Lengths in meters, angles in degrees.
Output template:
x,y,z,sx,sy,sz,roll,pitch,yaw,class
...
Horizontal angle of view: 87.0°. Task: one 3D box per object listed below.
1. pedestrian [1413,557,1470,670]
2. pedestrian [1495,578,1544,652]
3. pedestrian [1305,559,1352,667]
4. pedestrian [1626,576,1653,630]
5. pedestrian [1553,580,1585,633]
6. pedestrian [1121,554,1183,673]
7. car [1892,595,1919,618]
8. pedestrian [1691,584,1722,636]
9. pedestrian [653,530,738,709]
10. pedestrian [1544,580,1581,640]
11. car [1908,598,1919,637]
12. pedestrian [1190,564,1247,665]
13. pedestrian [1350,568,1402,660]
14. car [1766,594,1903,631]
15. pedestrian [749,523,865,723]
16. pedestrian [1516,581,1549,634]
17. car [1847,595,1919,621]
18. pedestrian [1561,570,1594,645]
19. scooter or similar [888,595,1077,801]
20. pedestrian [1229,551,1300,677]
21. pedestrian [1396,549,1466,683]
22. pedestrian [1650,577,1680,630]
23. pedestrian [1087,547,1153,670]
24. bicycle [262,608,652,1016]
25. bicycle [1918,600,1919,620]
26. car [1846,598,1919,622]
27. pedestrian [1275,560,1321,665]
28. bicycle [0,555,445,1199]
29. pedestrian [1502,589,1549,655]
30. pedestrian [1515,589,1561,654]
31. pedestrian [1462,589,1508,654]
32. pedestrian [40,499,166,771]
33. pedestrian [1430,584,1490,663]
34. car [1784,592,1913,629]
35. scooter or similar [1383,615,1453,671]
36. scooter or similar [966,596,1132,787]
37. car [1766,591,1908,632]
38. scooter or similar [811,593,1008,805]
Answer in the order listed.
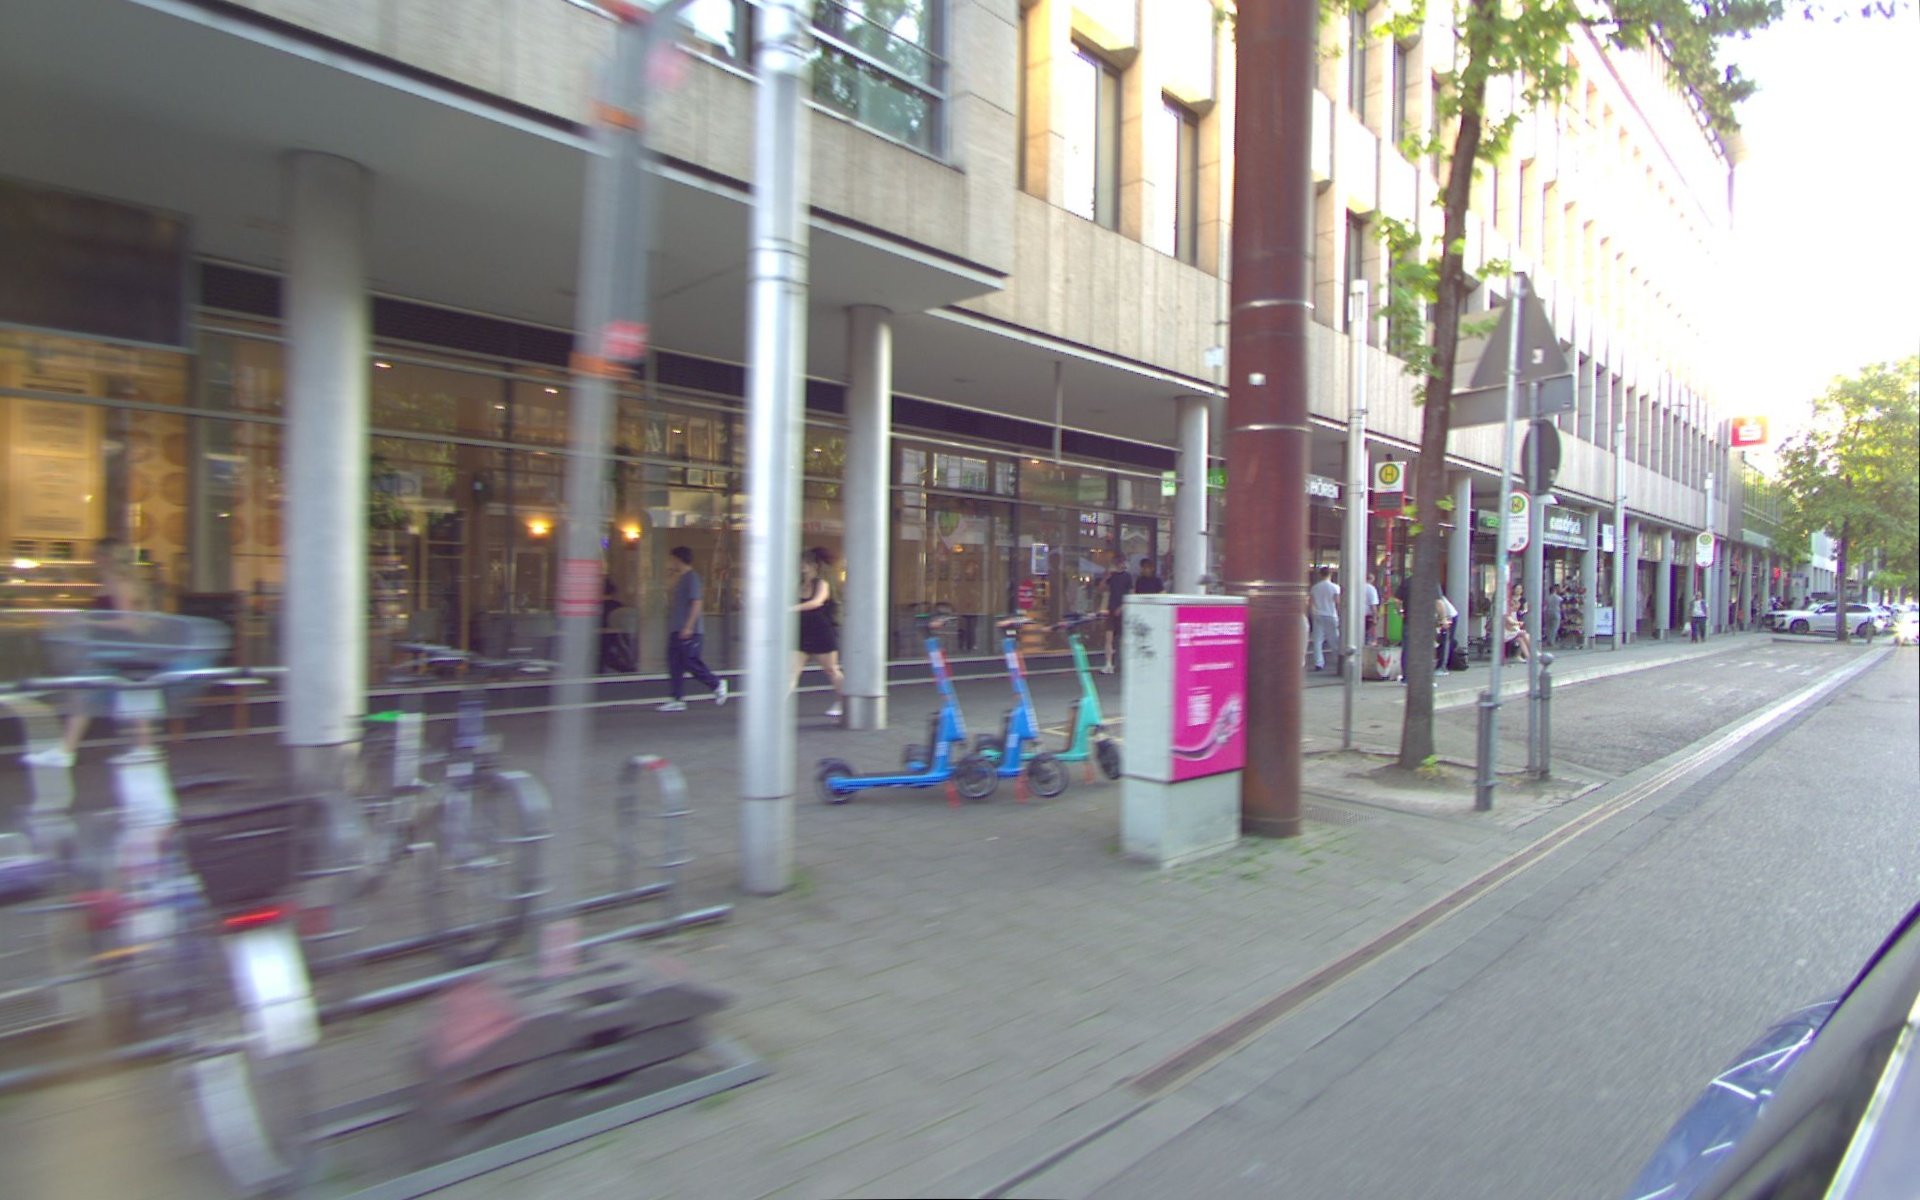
x,y,z,sx,sy,sz,roll,pitch,yaw,class
8.188,0.213,17.199,0.656,1.862,0.640,0,2,-43,pedestrian
12.471,0.323,22.557,0.723,1.589,0.725,0,2,-42,pedestrian
6.399,0.211,17.581,0.539,1.828,0.594,2,1,45,pedestrian
24.580,0.094,36.613,0.672,1.912,0.617,0,2,-43,pedestrian
19.526,0.201,32.424,0.681,1.664,0.776,2,2,45,pedestrian
2.951,0.195,15.572,0.582,1.774,0.761,2,1,45,pedestrian
76.794,0.481,80.434,3.918,1.809,1.867,-1,-1,-9,car
23.657,0.310,32.073,0.628,1.608,0.669,0,-1,-45,pedestrian
-2.709,0.181,10.363,0.570,1.753,0.607,2,1,45,pedestrian
17.200,0.271,28.898,0.710,1.682,0.688,0,2,-43,pedestrian
38.302,0.668,39.443,4.490,1.426,1.795,-1,1,-44,car
4.433,0.232,17.350,0.669,1.682,0.649,1,1,-43,pedestrian
7.792,0.251,18.955,0.639,1.682,0.649,1,1,-44,pedestrian
42.550,0.573,49.357,4.579,1.457,1.907,3,2,19,car
-1.458,0.188,9.618,0.773,1.794,0.761,2,2,45,pedestrian
18.380,0.230,32.505,0.711,1.664,0.805,2,2,45,pedestrian
66.675,0.591,72.744,3.953,1.809,1.851,-2,-1,22,car
16.516,0.184,27.074,0.645,1.968,0.578,0,2,-44,pedestrian
0.154,0.623,6.793,1.175,1.267,0.391,2,1,17,scooter or similar
4.677,0.198,15.539,0.865,1.862,0.669,0,2,-44,pedestrian
6.748,0.207,14.499,0.697,1.862,0.669,0,2,-45,pedestrian
25.624,0.121,36.793,0.783,1.912,0.707,0,2,-43,pedestrian
2.541,0.119,16.099,0.687,1.906,0.761,2,1,45,pedestrian
-2.132,0.680,4.133,1.995,1.169,0.715,4,3,42,bicycle
52.024,0.536,53.511,0.717,1.087,1.869,1,-1,-23,bicycle
63.575,0.700,69.276,3.944,1.530,1.855,-2,-1,17,car
6.027,0.207,18.036,0.539,1.828,0.594,2,1,45,pedestrian
-2.152,0.590,2.702,1.914,1.349,0.715,4,2,42,bicycle
11.630,0.444,20.825,0.523,1.331,0.719,0,0,-42,pedestrian
12.073,0.441,21.140,0.515,1.331,0.719,0,0,-42,pedestrian
11.044,0.440,21.286,0.523,1.331,0.719,0,0,-42,pedestrian
-5.868,0.215,6.933,0.570,1.753,0.607,2,1,45,pedestrian
9.115,0.414,18.462,0.651,1.398,0.814,0,0,-43,pedestrian
45.934,0.508,52.410,4.566,1.607,1.912,3,2,12,car
7.684,0.714,16.991,0.673,0.895,0.837,0,0,-30,scooter or similar
0.655,0.630,7.369,1.100,1.267,0.494,2,1,16,scooter or similar
40.865,0.519,47.274,4.570,1.650,1.909,3,0,14,car
-0.326,0.614,6.396,1.167,1.267,0.394,2,1,-6,scooter or similar
